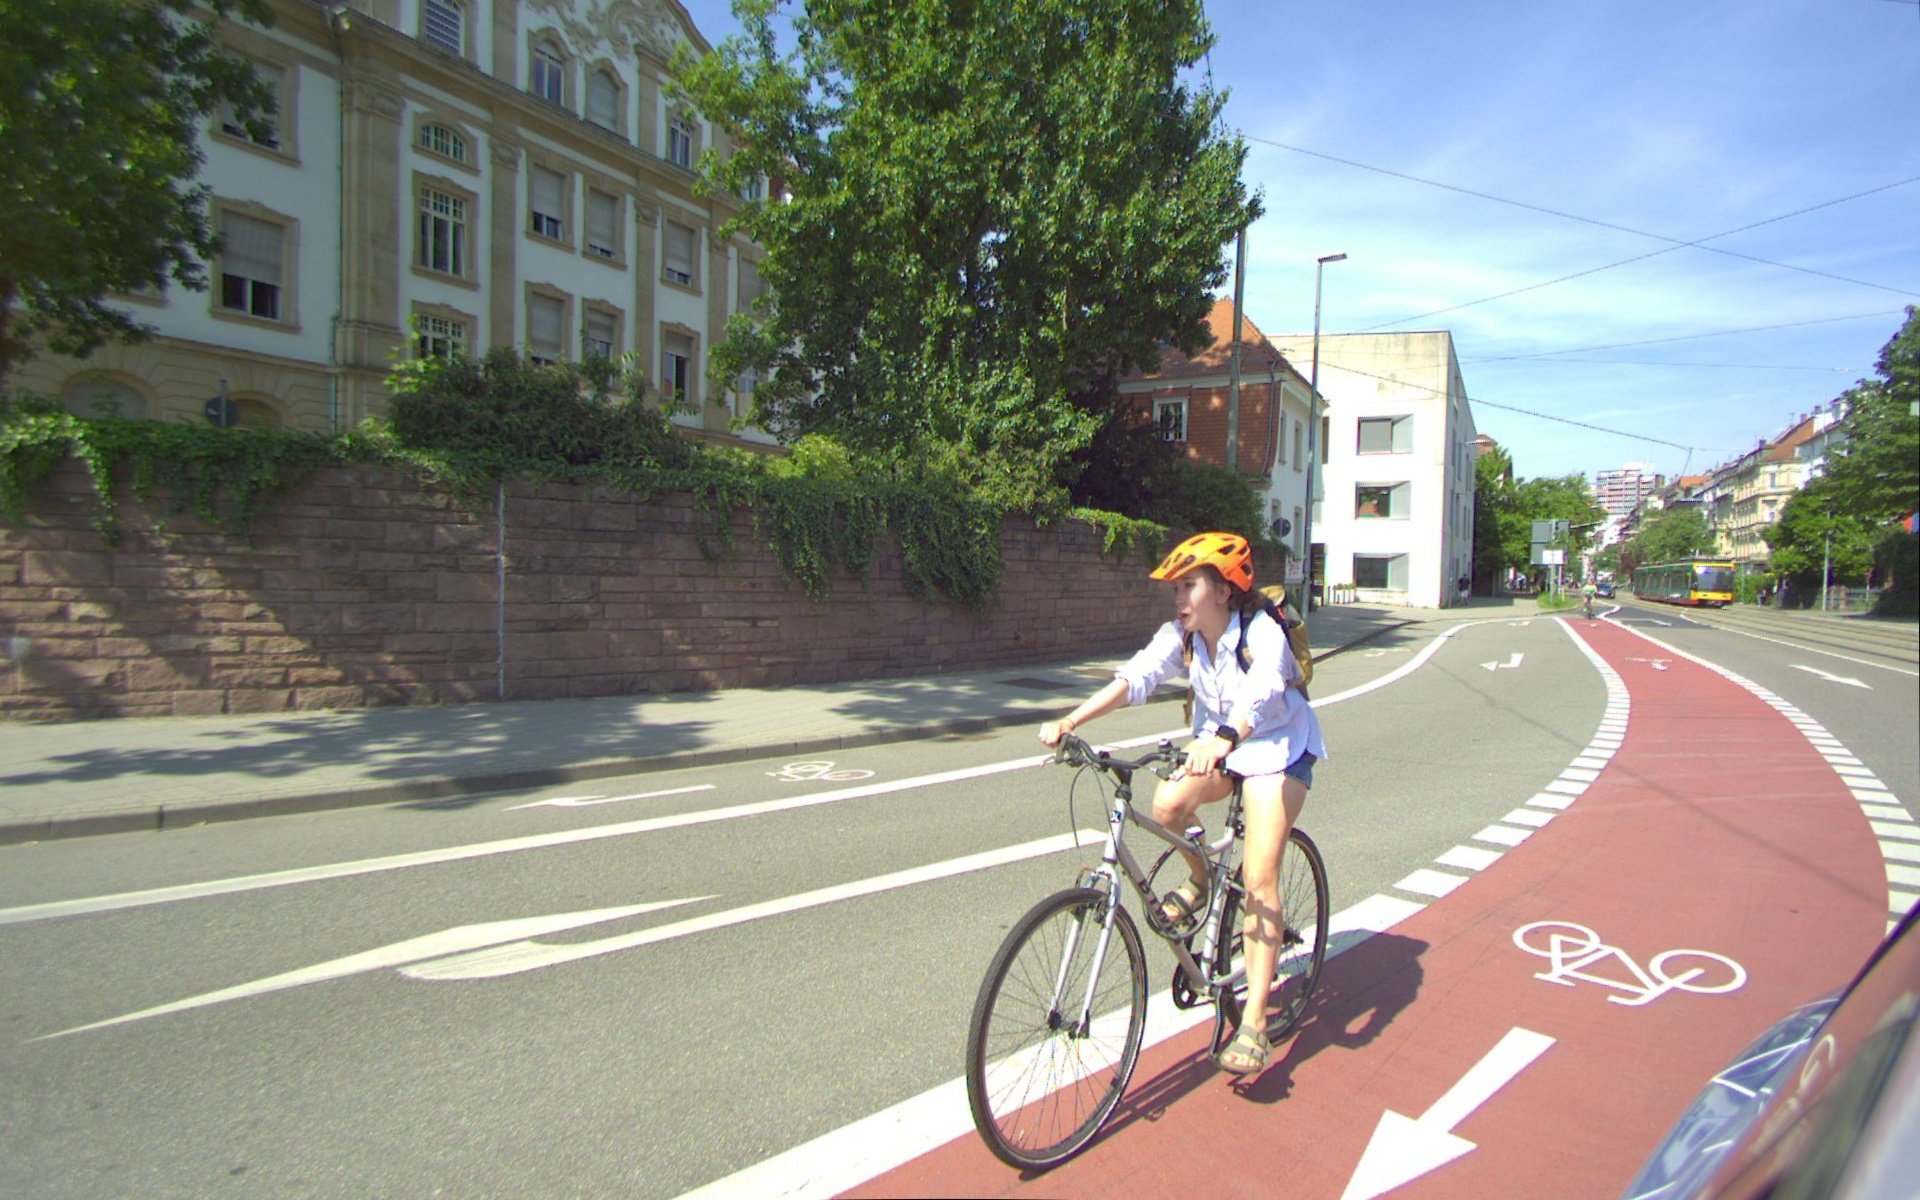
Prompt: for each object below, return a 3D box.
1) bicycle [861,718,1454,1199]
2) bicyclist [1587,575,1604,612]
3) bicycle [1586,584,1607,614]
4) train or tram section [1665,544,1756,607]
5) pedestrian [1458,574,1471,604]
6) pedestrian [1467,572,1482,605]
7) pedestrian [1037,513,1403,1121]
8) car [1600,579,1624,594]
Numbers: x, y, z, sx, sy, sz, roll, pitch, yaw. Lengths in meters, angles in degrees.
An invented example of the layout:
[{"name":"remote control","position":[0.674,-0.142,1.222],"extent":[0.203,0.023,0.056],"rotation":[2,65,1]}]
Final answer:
[{"name":"bicycle","position":[0.702,0.928,2.959],"extent":[1.993,0.943,0.597],"rotation":[0,1,-41]},{"name":"bicyclist","position":[27.232,-0.271,43.350],"extent":[0.584,1.567,0.921],"rotation":[0,0,33]},{"name":"bicycle","position":[27.266,-0.045,43.383],"extent":[0.681,1.237,2.162],"rotation":[2,2,32]},{"name":"train or tram section","position":[52.392,-1.693,71.057],"extent":[3.189,3.908,14.436],"rotation":[3,2,29]},{"name":"pedestrian","position":[27.337,-0.620,54.806],"extent":[0.545,1.587,0.922],"rotation":[2,2,29]},{"name":"pedestrian","position":[27.888,-0.624,54.811],"extent":[0.645,1.728,0.704],"rotation":[2,2,29]},{"name":"pedestrian","position":[0.792,0.522,3.017],"extent":[0.996,1.484,0.584],"rotation":[0,1,-41]},{"name":"car","position":[61.828,-1.289,95.948],"extent":[1.791,1.393,4.225],"rotation":[3,3,34]}]
